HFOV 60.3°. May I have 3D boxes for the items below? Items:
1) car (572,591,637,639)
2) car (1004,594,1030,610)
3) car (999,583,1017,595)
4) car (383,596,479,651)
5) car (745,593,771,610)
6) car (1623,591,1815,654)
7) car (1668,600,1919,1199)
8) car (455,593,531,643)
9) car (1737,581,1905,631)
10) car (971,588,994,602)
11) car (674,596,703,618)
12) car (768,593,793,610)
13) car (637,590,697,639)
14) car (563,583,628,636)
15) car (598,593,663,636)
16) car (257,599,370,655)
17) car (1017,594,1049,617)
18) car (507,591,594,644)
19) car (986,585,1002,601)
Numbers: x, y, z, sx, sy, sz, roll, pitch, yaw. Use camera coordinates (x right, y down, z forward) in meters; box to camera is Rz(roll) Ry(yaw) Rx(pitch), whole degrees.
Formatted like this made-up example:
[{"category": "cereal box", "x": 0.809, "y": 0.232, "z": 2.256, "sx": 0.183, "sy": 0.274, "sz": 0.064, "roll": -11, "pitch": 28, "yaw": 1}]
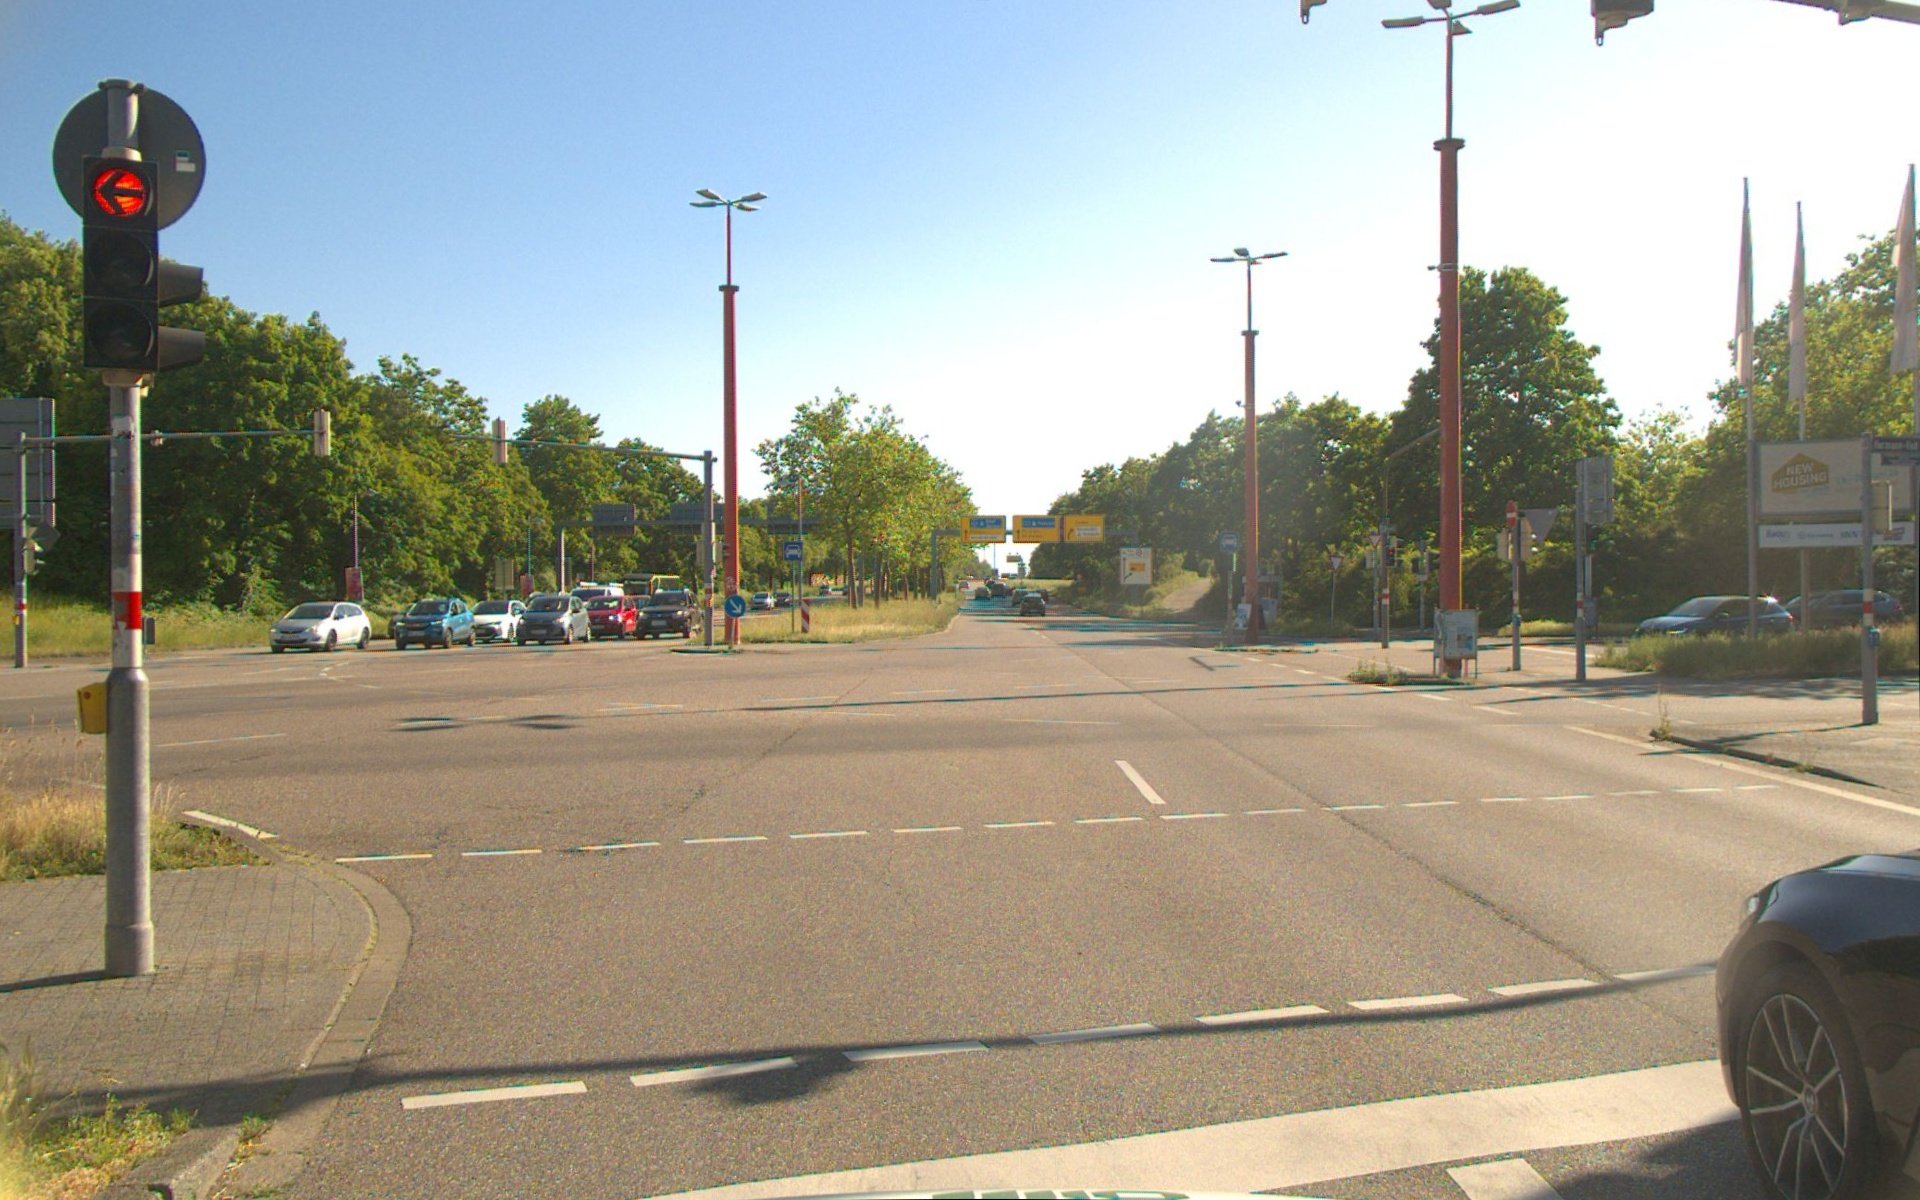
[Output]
[{"category": "car", "x": -12.481, "y": 0.509, "z": 58.269, "sx": 1.956, "sy": 1.601, "sz": 4.113, "roll": 0, "pitch": 0, "yaw": -8}, {"category": "car", "x": 5.564, "y": 0.185, "z": 161.913, "sx": 2.116, "sy": 1.601, "sz": 4.277, "roll": 0, "pitch": 0, "yaw": -4}, {"category": "car", "x": 6.673, "y": -1.553, "z": 229.054, "sx": 2.116, "sy": 1.601, "sz": 4.277, "roll": 0, "pitch": 0, "yaw": -4}, {"category": "car", "x": -16.210, "y": 0.684, "z": 50.889, "sx": 1.955, "sy": 1.601, "sz": 4.116, "roll": 0, "pitch": 0, "yaw": -5}, {"category": "car", "x": -18.302, "y": 0.107, "z": 149.915, "sx": 1.846, "sy": 1.480, "sz": 3.656, "roll": 0, "pitch": 0, "yaw": 0}, {"category": "car", "x": 18.758, "y": 0.529, "z": 40.901, "sx": 4.202, "sy": 1.453, "sz": 1.874, "roll": 0, "pitch": 0, "yaw": -19}, {"category": "car", "x": 2.973, "y": 0.713, "z": 2.359, "sx": 1.953, "sy": 1.419, "sz": 4.476, "roll": 0, "pitch": 0, "yaw": -1}, {"category": "car", "x": -15.992, "y": 0.599, "z": 56.782, "sx": 1.956, "sy": 1.601, "sz": 4.113, "roll": -1, "pitch": 0, "yaw": -8}, {"category": "car", "x": 28.521, "y": 0.192, "z": 54.870, "sx": 4.479, "sy": 1.601, "sz": 2.164, "roll": 0, "pitch": 0, "yaw": -5}, {"category": "car", "x": 2.600, "y": -0.543, "z": 194.182, "sx": 2.202, "sy": 1.601, "sz": 4.276, "roll": 0, "pitch": 0, "yaw": -5}, {"category": "car", "x": -20.447, "y": 0.535, "z": 124.730, "sx": 1.840, "sy": 1.601, "sz": 4.116, "roll": 0, "pitch": 0, "yaw": -5}, {"category": "car", "x": -18.034, "y": 0.135, "z": 166.235, "sx": 1.952, "sy": 1.601, "sz": 4.121, "roll": 0, "pitch": 0, "yaw": 1}, {"category": "car", "x": -9.876, "y": 0.473, "z": 55.989, "sx": 1.841, "sy": 1.601, "sz": 4.113, "roll": 0, "pitch": 0, "yaw": -8}, {"category": "car", "x": -15.674, "y": 0.389, "z": 71.263, "sx": 2.021, "sy": 2.231, "sz": 4.376, "roll": 0, "pitch": 0, "yaw": -3}, {"category": "car", "x": -12.713, "y": 0.530, "z": 64.045, "sx": 1.954, "sy": 1.601, "sz": 4.117, "roll": 0, "pitch": 0, "yaw": -4}, {"category": "car", "x": -19.588, "y": 0.787, "z": 50.296, "sx": 1.954, "sy": 1.601, "sz": 4.118, "roll": 0, "pitch": 0, "yaw": -3}, {"category": "car", "x": 5.184, "y": 0.375, "z": 117.875, "sx": 2.114, "sy": 1.601, "sz": 4.281, "roll": 0, "pitch": 0, "yaw": 1}, {"category": "car", "x": -12.807, "y": 0.523, "z": 51.963, "sx": 1.954, "sy": 1.601, "sz": 4.118, "roll": 0, "pitch": 0, "yaw": -4}, {"category": "car", "x": 4.301, "y": -0.913, "z": 209.869, "sx": 1.953, "sy": 2.049, "sz": 3.999, "roll": 0, "pitch": 0, "yaw": -1}]
